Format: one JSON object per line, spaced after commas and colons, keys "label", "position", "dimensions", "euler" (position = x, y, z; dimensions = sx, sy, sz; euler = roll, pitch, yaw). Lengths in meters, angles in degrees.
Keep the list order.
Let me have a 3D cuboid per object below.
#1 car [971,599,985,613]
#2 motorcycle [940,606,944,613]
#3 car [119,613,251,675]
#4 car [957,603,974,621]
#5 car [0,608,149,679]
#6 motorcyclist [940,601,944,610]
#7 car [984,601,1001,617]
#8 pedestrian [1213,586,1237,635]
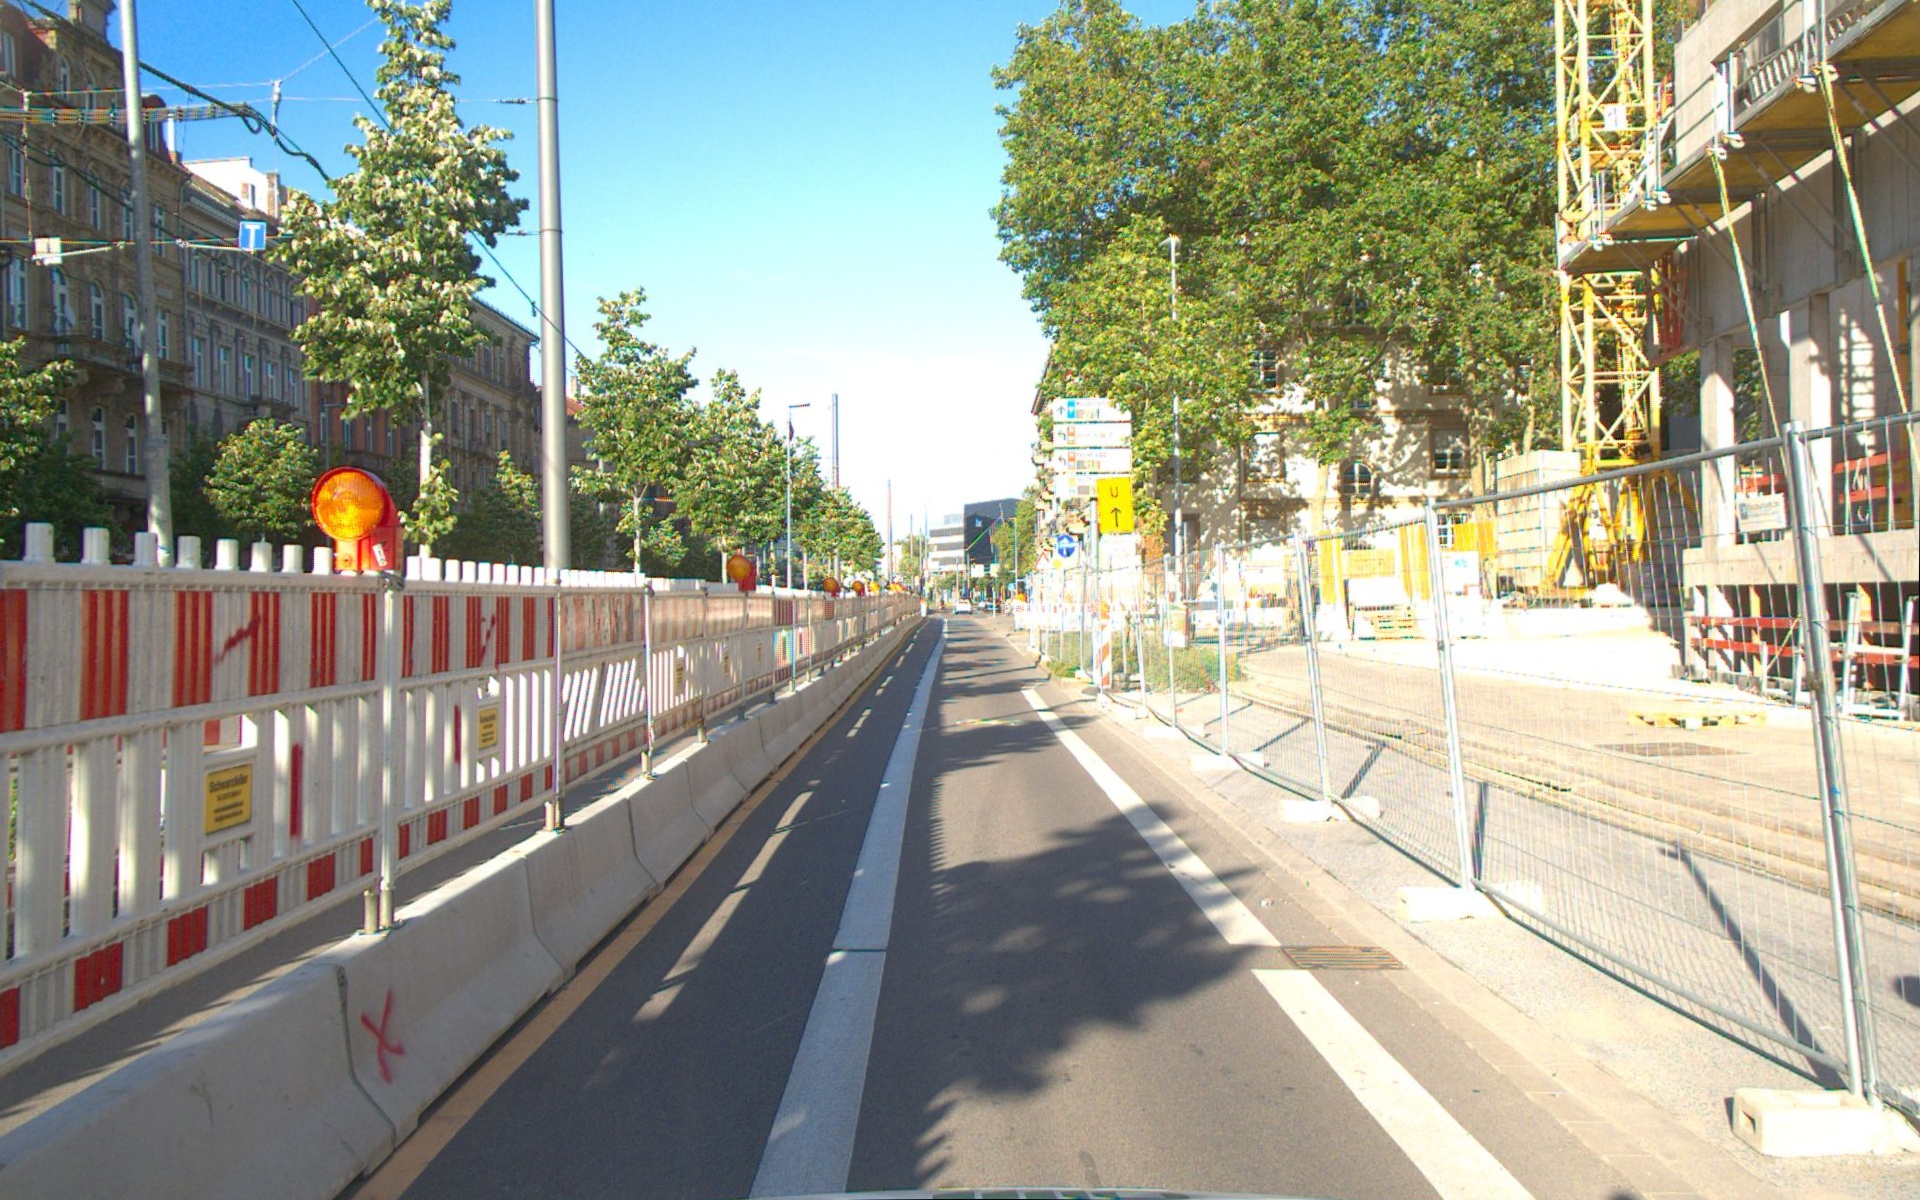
{"label": "car", "position": [2.435, 0.771, 225.974], "dimensions": [1.844, 1.875, 3.667], "euler": [-1, 0, 0]}
{"label": "motorcycle", "position": [-2.395, 1.266, 220.547], "dimensions": [0.618, 0.912, 1.621], "euler": [-1, 0, 0]}
{"label": "car", "position": [-21.924, 1.205, 46.983], "dimensions": [1.534, 1.590, 4.714], "euler": [-1, 0, -1]}
{"label": "car", "position": [0.619, 1.336, 182.824], "dimensions": [1.844, 1.875, 3.667], "euler": [-1, 0, 0]}
{"label": "car", "position": [-21.830, 1.020, 40.588], "dimensions": [1.534, 1.590, 4.714], "euler": [-1, 0, 0]}
{"label": "motorcyclist", "position": [-2.412, 0.719, 220.683], "dimensions": [0.618, 1.285, 0.605], "euler": [-1, 0, -1]}
{"label": "car", "position": [3.887, 1.108, 197.559], "dimensions": [1.844, 1.875, 3.667], "euler": [-1, 0, 0]}
{"label": "pedestrian", "position": [9.735, 0.375, 60.820], "dimensions": [0.759, 1.776, 0.671], "euler": [-1, 0, 0]}
